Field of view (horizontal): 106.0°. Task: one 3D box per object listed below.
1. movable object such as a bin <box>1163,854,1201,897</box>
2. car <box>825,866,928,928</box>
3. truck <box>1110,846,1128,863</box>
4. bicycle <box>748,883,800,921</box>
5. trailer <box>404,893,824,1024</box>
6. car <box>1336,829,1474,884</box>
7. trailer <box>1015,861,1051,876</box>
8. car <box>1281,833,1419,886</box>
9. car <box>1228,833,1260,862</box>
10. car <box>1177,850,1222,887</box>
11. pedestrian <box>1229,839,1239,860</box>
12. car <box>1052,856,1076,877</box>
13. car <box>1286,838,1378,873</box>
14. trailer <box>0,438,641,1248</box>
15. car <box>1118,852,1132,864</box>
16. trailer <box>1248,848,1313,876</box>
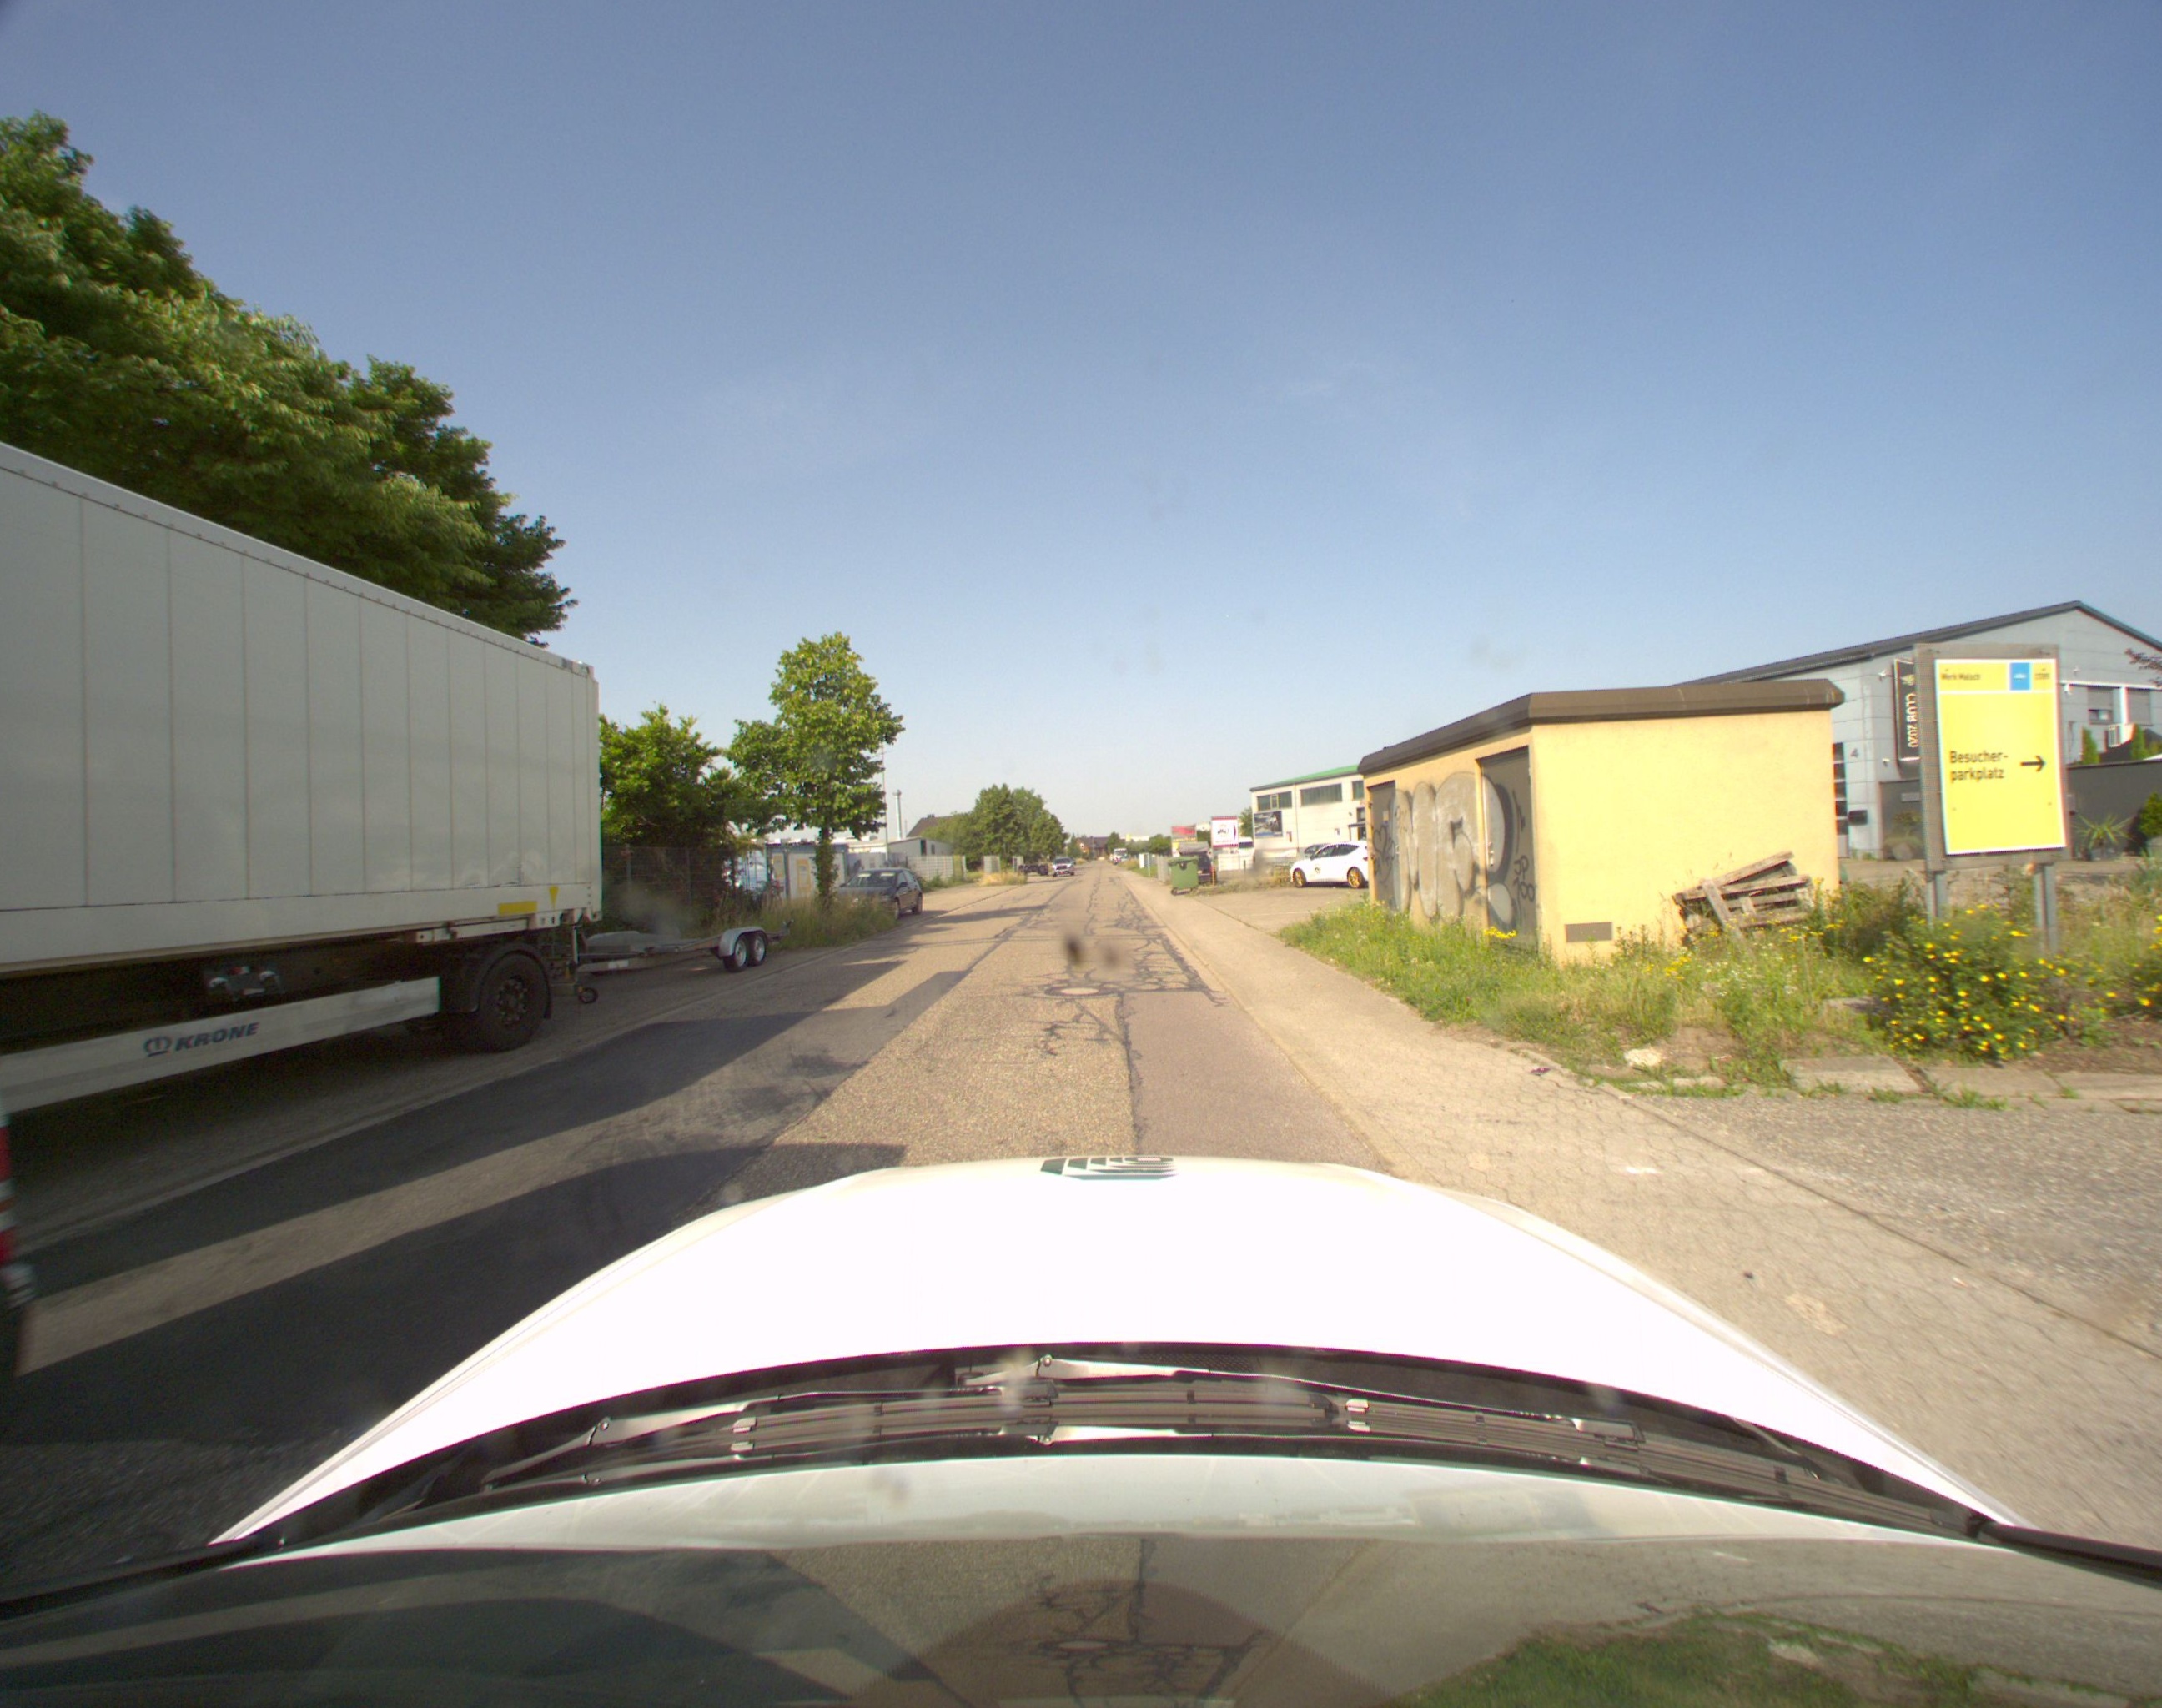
[{"bbox_3d":[3.555,0.737,28.873,1.077,1.353,1.506,-6,0,2],"label":"movable object such as a bin"},{"bbox_3d":[-5.821,1.171,23.643,1.680,1.470,4.096,-4,0,3],"label":"car"},{"bbox_3d":[6.426,0.107,136.818,2.353,2.681,6.505,-3,0,-2],"label":"truck"},{"bbox_3d":[-9.218,1.413,24.552,0.560,0.973,2.453,-4,0,1],"label":"bicycle"},{"bbox_3d":[-6.295,1.338,12.380,2.640,0.985,6.244,-4,0,1],"label":"trailer"},{"bbox_3d":[10.425,0.119,26.520,1.722,1.572,4.101,-4,0,-23],"label":"car"},{"bbox_3d":[-4.430,1.311,77.167,2.573,1.184,9.365,-2,0,1],"label":"trailer"},{"bbox_3d":[8.326,0.199,25.633,1.695,1.466,4.230,-4,0,-23],"label":"car"},{"bbox_3d":[16.000,-0.612,80.291,1.967,2.705,5.882,-4,0,1],"label":"car"},{"bbox_3d":[4.998,0.555,34.652,1.665,1.368,4.401,-4,0,6],"label":"car"},{"bbox_3d":[12.398,-0.383,65.835,0.698,1.640,0.751,-4,0,9],"label":"pedestrian"},{"bbox_3d":[-1.401,1.068,70.311,1.805,1.627,4.250,-4,0,1],"label":"car"},{"bbox_3d":[11.764,0.107,38.459,1.646,1.466,4.427,-4,0,-23],"label":"car"},{"bbox_3d":[-6.508,-0.028,4.372,2.690,3.884,9.767,-2,0,1],"label":"trailer"},{"bbox_3d":[6.074,0.567,112.941,1.788,1.517,4.425,-3,0,1],"label":"car"},{"bbox_3d":[9.410,0.390,38.600,1.497,1.248,2.953,-2,0,-24],"label":"trailer"}]
